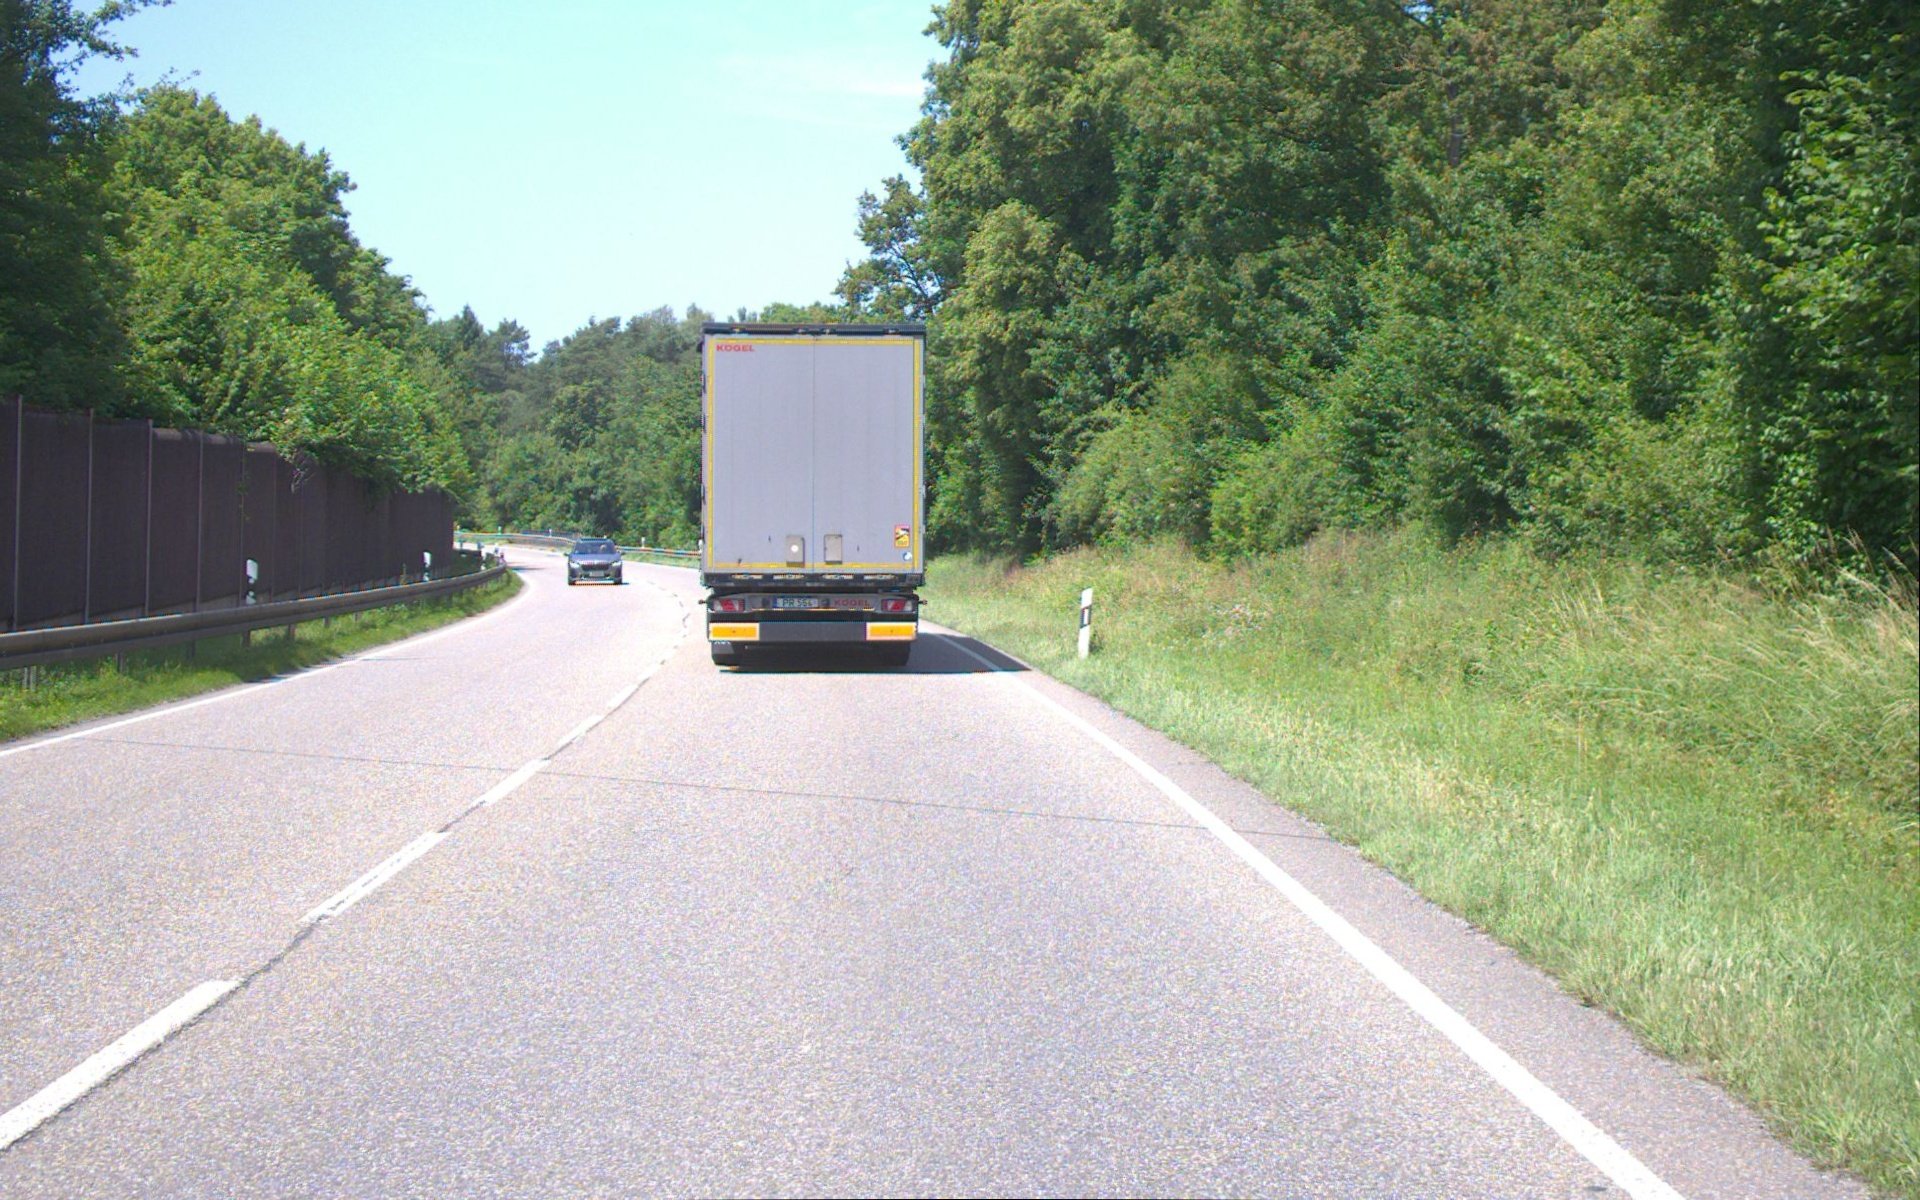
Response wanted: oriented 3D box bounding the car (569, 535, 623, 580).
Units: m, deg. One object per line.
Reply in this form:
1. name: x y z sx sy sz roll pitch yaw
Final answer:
1. car: -12.382 -1.463 116.898 1.616 1.486 3.618 0 1 -9

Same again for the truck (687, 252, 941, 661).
1. truck: -1.661 -1.625 42.042 2.822 4.588 6.665 0 0 0
